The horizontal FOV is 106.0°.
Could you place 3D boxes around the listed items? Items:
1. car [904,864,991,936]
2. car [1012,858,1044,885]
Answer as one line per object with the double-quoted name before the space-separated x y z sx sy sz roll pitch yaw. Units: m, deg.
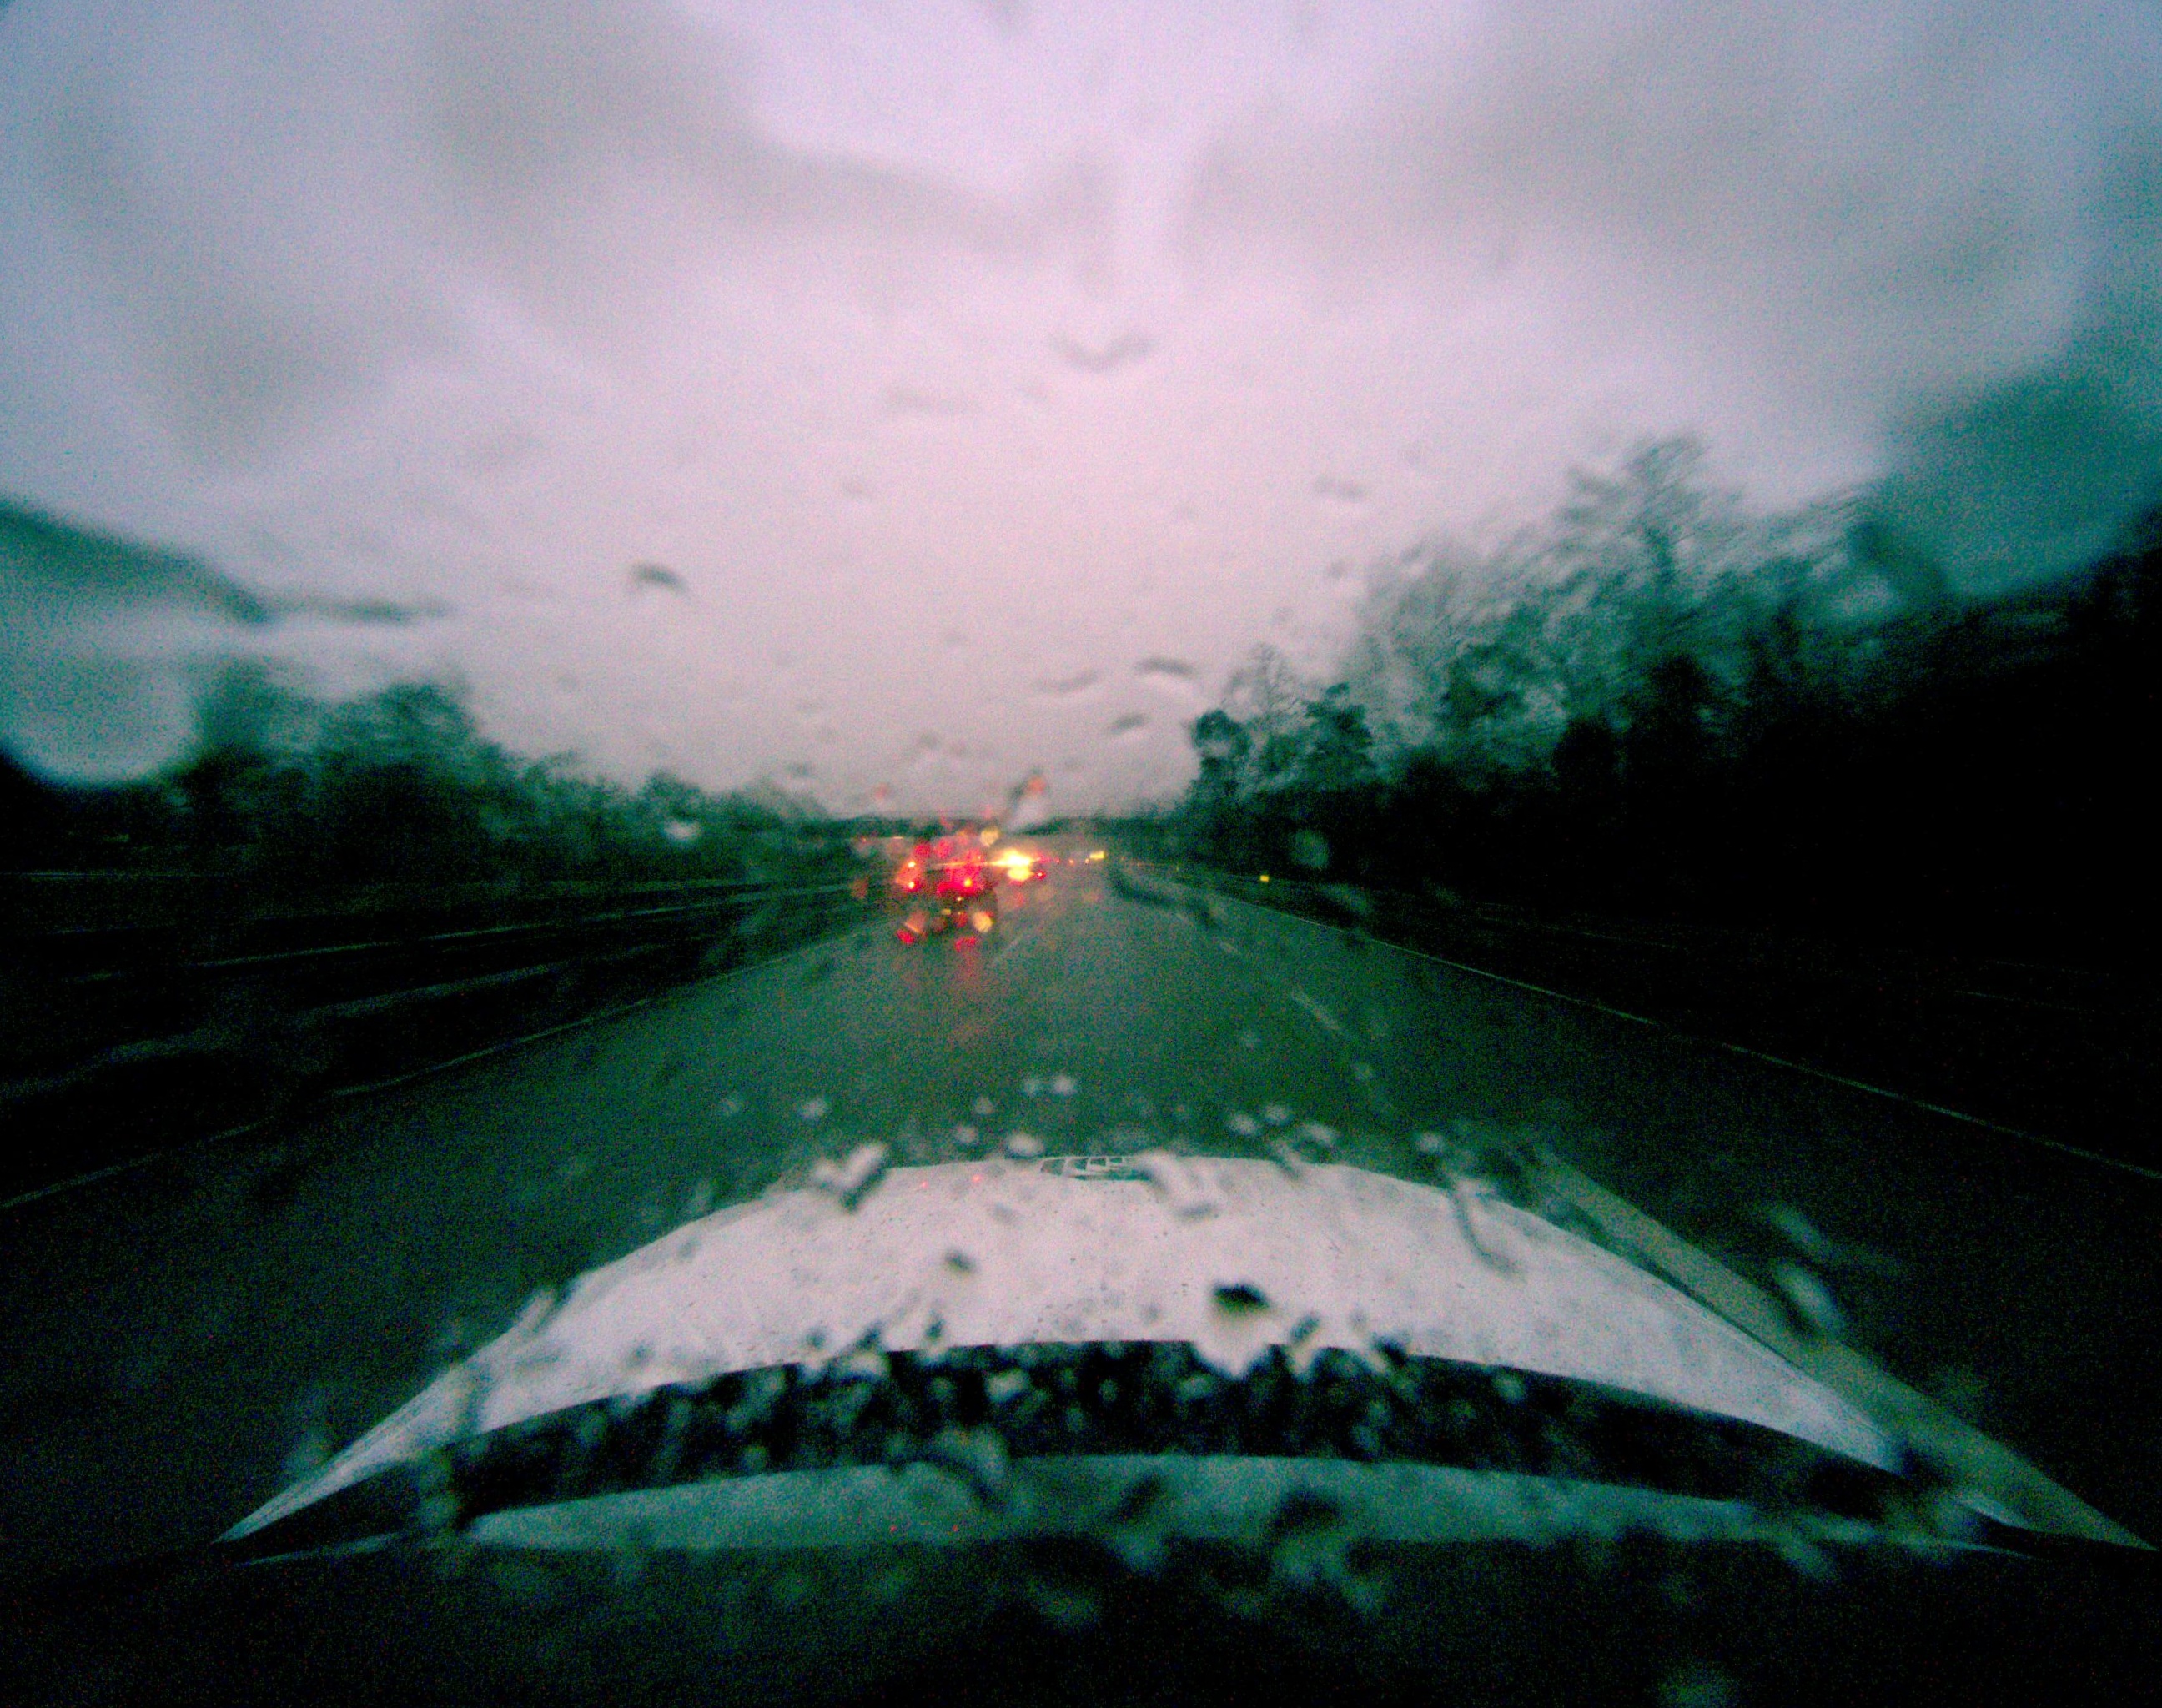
"car" -3.013 0.988 18.920 1.523 1.415 3.476 2 0 -2
"car" -3.115 1.002 48.524 1.771 1.534 4.698 -1 0 -2
